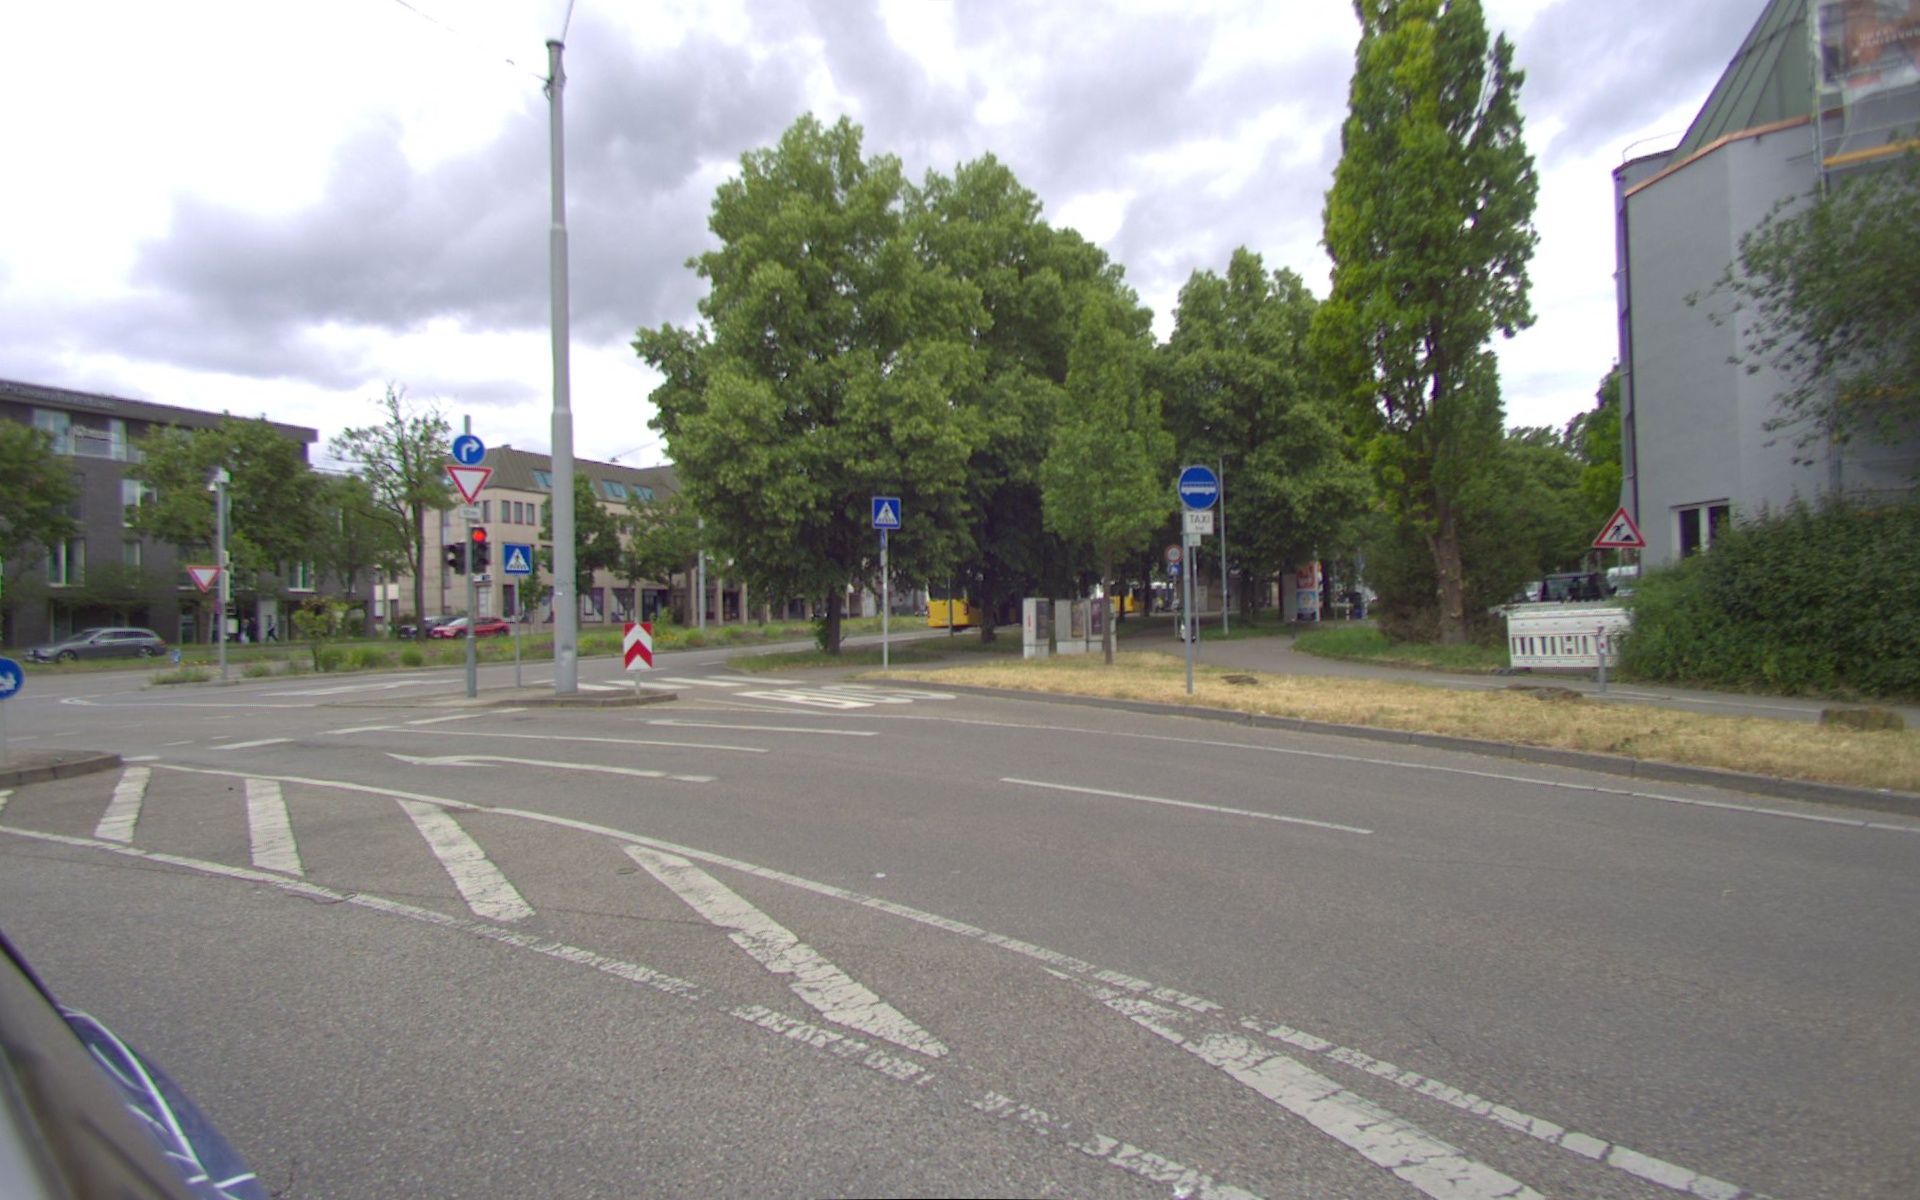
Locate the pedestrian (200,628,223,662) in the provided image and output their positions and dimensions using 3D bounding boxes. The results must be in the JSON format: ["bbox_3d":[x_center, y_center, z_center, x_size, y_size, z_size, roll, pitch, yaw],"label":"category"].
[{"bbox_3d":[-40.823,2.438,55.192,0.688,1.759,0.694,-3,0,19],"label":"pedestrian"}]

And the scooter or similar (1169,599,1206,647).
[{"bbox_3d":[7.199,0.708,32.128,0.547,1.457,1.595,-3,0,-8],"label":"scooter or similar"}]

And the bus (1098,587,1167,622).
[{"bbox_3d":[16.859,0.356,98.147,3.282,3.031,10.130,-3,0,29],"label":"bus"}]

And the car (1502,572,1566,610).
[{"bbox_3d":[35.925,-0.605,63.297,2.318,2.107,5.417,-4,0,42],"label":"car"}]

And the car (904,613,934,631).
[{"bbox_3d":[-4.824,2.580,119.468,1.986,1.829,3.971,-3,0,22],"label":"car"}]

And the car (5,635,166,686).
[{"bbox_3d":[-35.731,2.428,41.512,1.986,1.707,4.571,-3,0,21],"label":"car"}]

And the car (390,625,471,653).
[{"bbox_3d":[-31.143,2.272,59.617,1.766,1.497,3.858,-4,-3,34],"label":"car"}]

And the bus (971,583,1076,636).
[{"bbox_3d":[4.281,0.497,65.268,3.038,3.031,9.608,-3,0,27],"label":"bus"}]

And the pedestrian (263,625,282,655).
[{"bbox_3d":[-39.715,2.313,58.443,0.689,1.632,0.593,-3,0,24],"label":"pedestrian"}]

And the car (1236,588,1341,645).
[{"bbox_3d":[10.324,0.481,31.678,1.647,1.682,3.894,-1,-1,43],"label":"car"}]

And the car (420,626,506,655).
[{"bbox_3d":[-28.513,2.318,58.174,1.813,1.497,4.345,-4,-3,22],"label":"car"}]

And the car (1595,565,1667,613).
[{"bbox_3d":[35.573,-0.599,53.574,2.318,2.271,5.417,-4,0,42],"label":"car"}]

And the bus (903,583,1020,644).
[{"bbox_3d":[0.271,0.666,57.232,3.038,3.031,8.353,-3,0,27],"label":"bus"}]

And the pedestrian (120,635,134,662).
[{"bbox_3d":[-43.200,2.521,52.478,0.527,1.367,0.660,-3,0,-41],"label":"pedestrian"}]

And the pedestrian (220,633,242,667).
[{"bbox_3d":[-39.915,2.736,55.383,0.688,1.759,0.645,-3,0,19],"label":"pedestrian"}]
